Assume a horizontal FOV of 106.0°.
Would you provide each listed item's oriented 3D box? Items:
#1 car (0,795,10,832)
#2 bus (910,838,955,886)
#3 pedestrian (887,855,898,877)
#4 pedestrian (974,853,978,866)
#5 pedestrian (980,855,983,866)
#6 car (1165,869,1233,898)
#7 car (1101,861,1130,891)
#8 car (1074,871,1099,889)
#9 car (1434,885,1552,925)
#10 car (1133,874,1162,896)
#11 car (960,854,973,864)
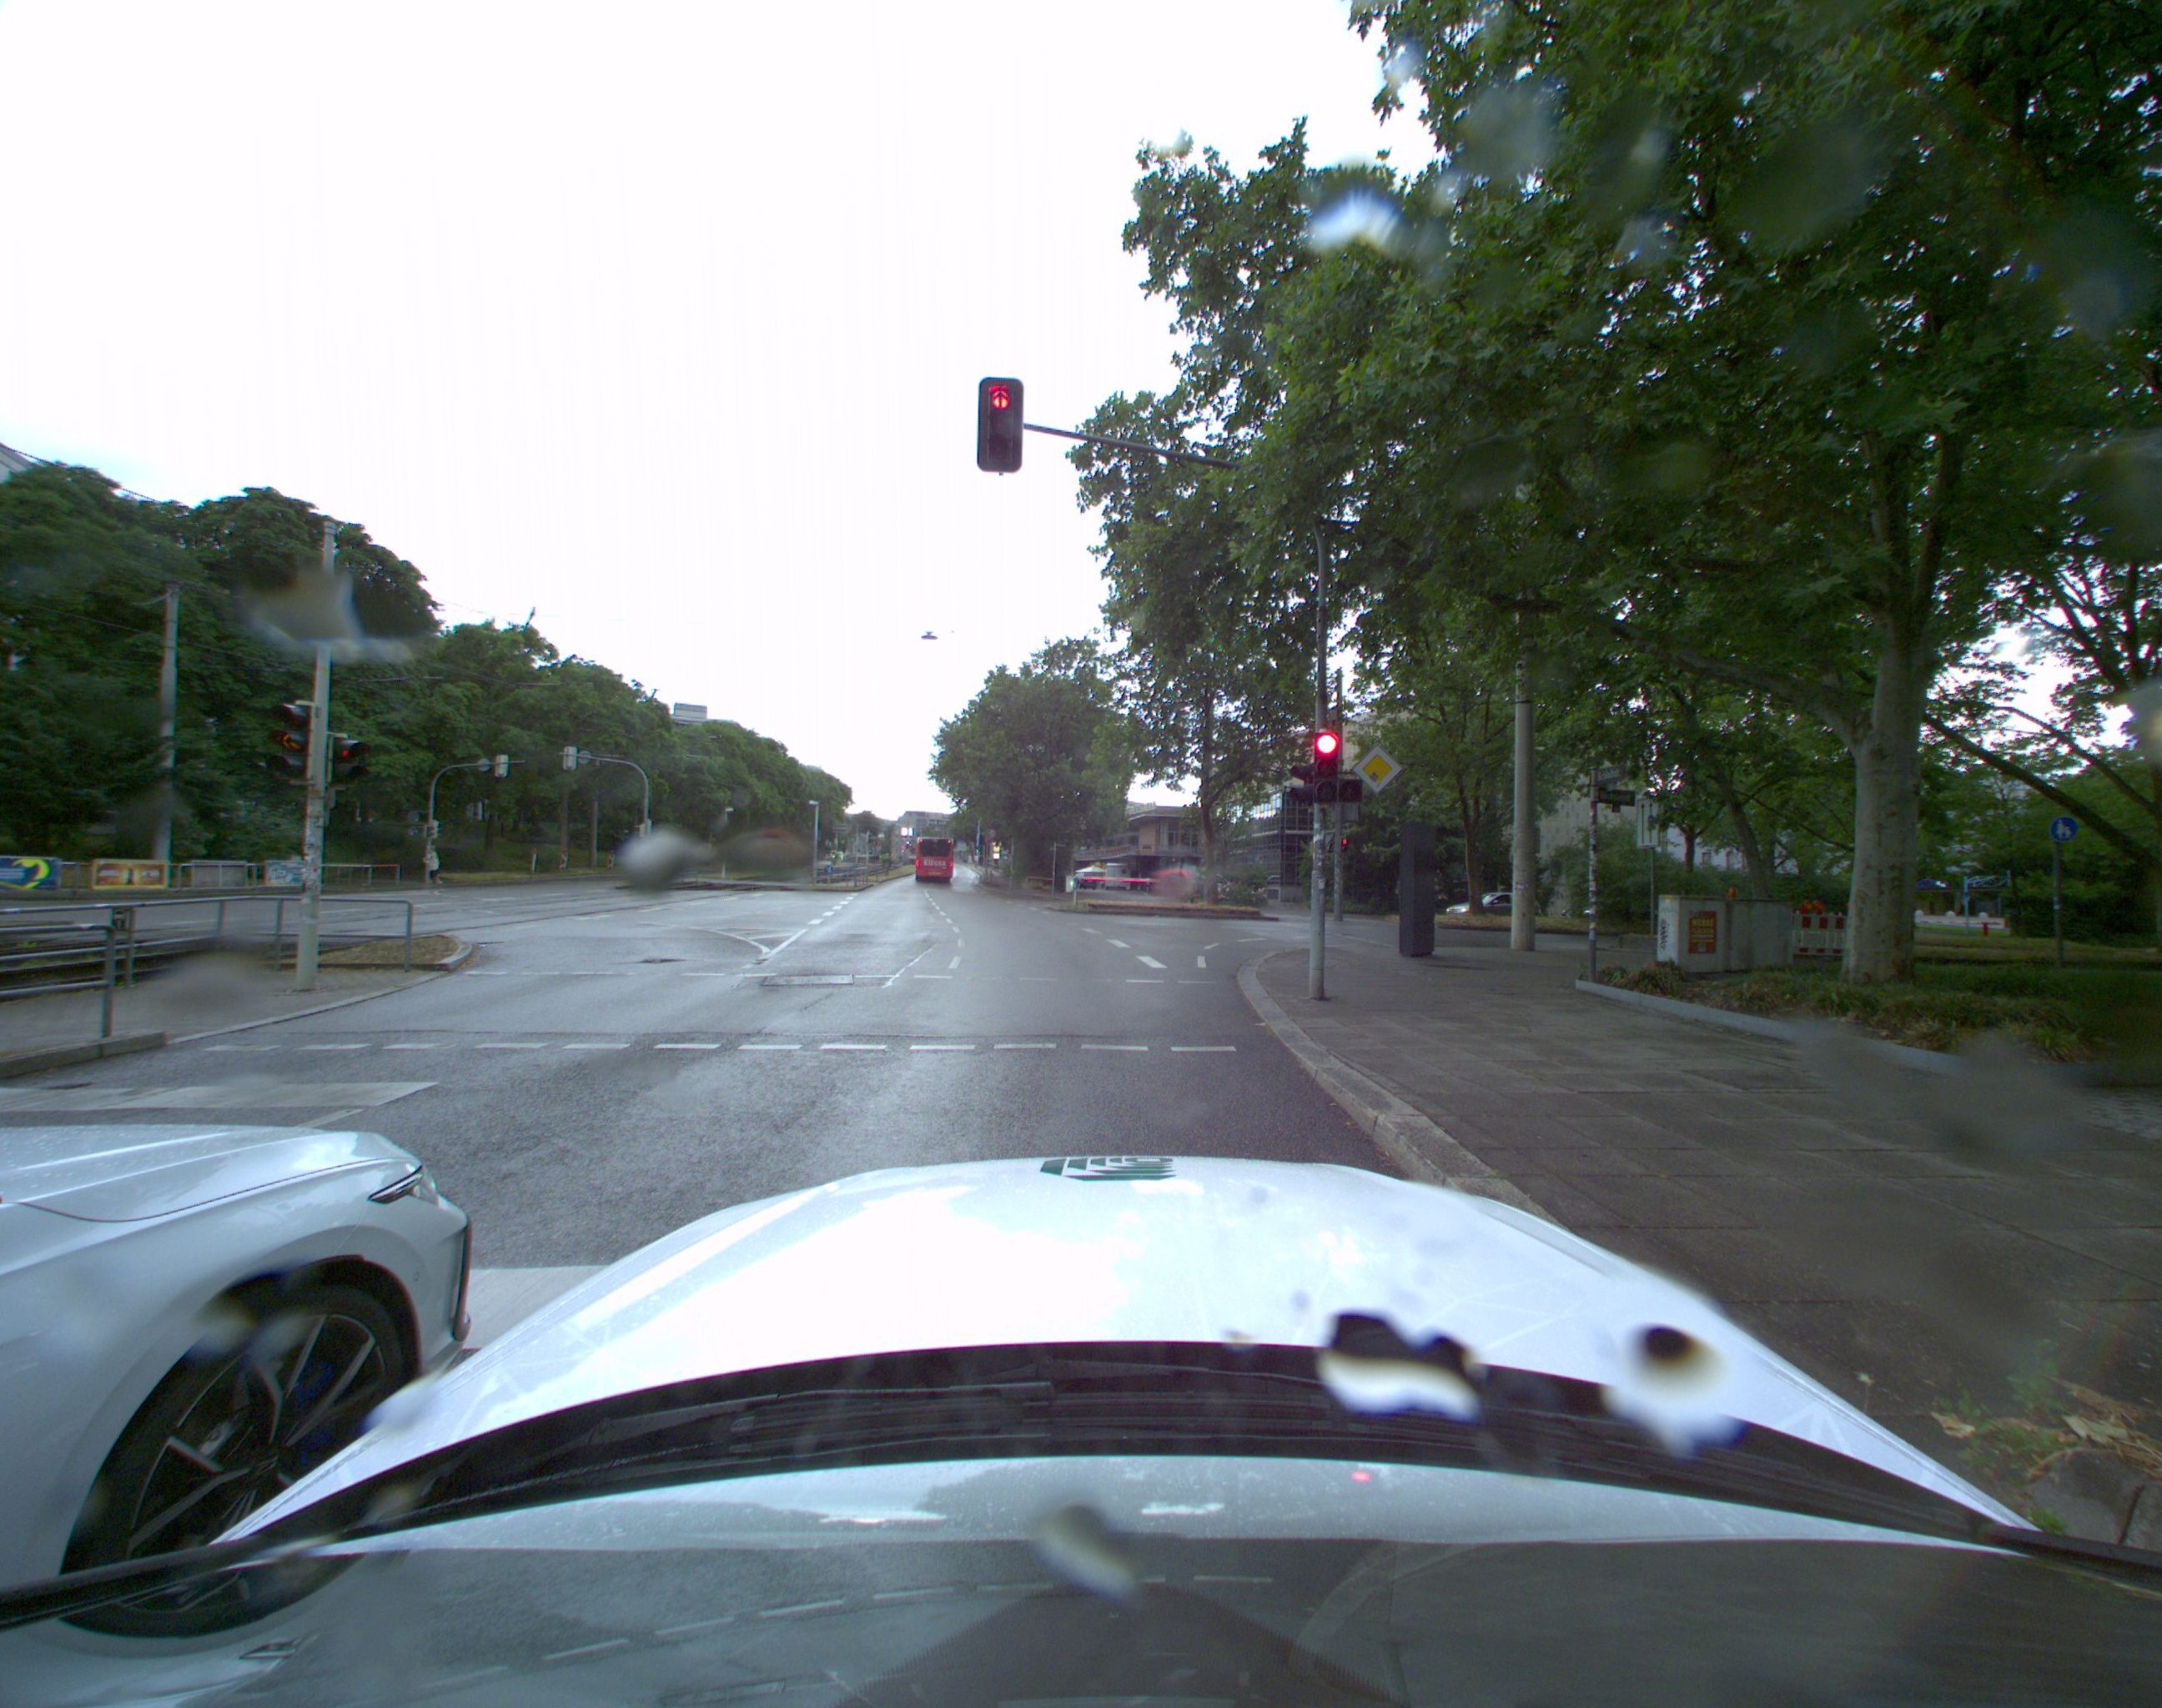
[{"bbox_3d":[-52.931,-2.015,37.914,2.005,1.794,4.172,4,-2,-28],"label":"car"},{"bbox_3d":[-10.770,0.626,59.744,2.653,3.111,9.158,3,-1,-8],"label":"bus"},{"bbox_3d":[-14.503,0.954,62.697,0.738,1.640,0.867,3,-2,-11],"label":"pedestrian"},{"bbox_3d":[-13.797,0.749,107.421,0.370,1.708,0.644,2,-1,2],"label":"pedestrian"},{"bbox_3d":[-13.195,0.853,108.093,0.370,1.525,0.344,2,-1,1],"label":"pedestrian"},{"bbox_3d":[8.969,2.226,61.961,4.762,1.943,1.986,3,-2,-20],"label":"car"},{"bbox_3d":[3.772,2.405,90.622,2.539,3.134,5.024,3,-2,-3],"label":"car"},{"bbox_3d":[0.526,2.803,88.070,1.993,1.860,3.987,3,-2,-9],"label":"car"},{"bbox_3d":[17.279,2.128,34.276,3.980,1.442,1.997,3,-2,-5],"label":"car"},{"bbox_3d":[6.897,3.193,84.421,1.994,2.014,3.985,3,-2,-10],"label":"car"},{"bbox_3d":[-20.850,0.914,147.963,1.995,1.684,3.984,3,-2,-12],"label":"car"}]
